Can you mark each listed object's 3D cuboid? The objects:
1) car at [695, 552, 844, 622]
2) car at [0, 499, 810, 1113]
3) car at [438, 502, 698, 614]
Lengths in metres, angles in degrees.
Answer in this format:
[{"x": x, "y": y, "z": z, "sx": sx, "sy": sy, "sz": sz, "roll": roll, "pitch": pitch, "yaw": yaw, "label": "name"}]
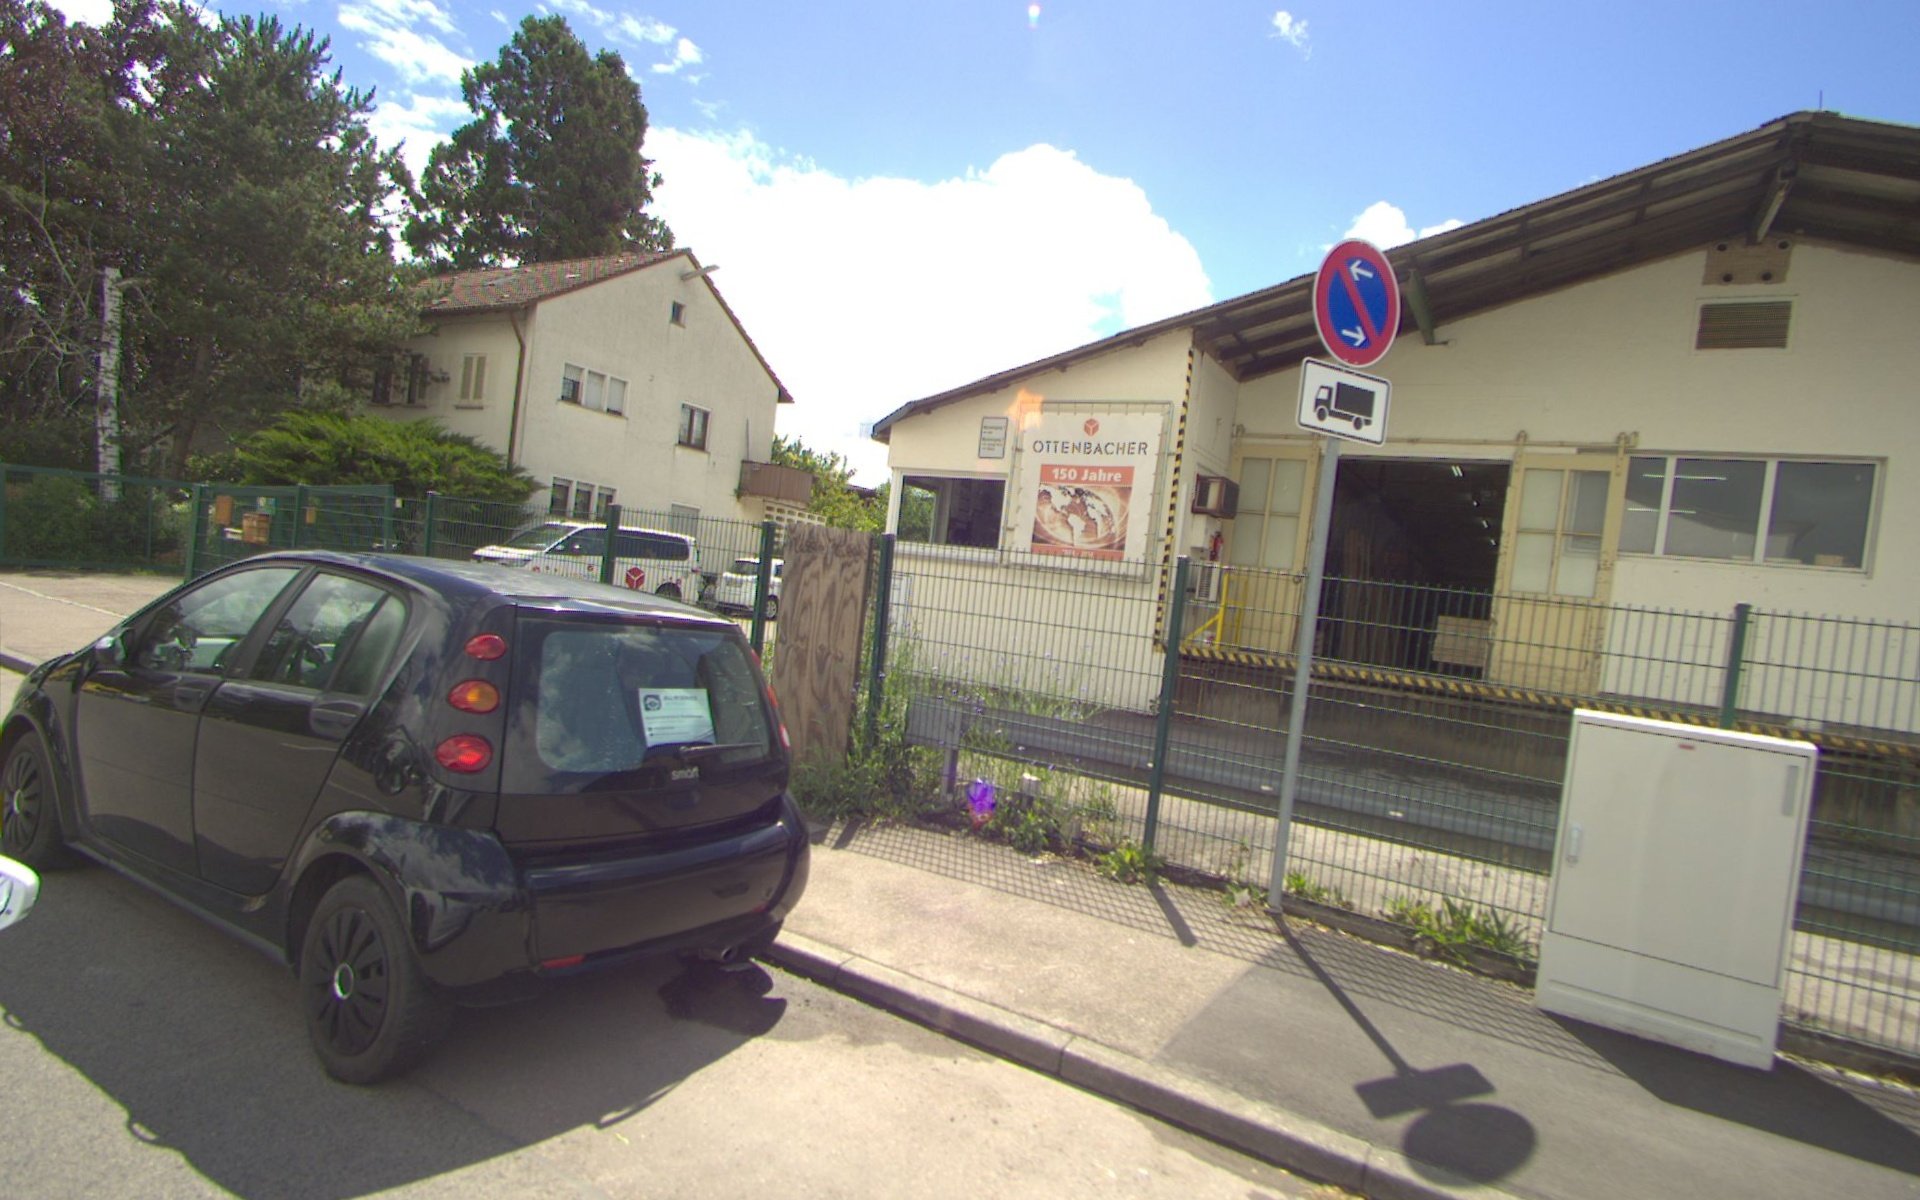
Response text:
[{"x": -5.097, "y": -0.317, "z": 27.370, "sx": 1.633, "sy": 1.543, "sz": 3.885, "roll": 7, "pitch": 2, "yaw": 33, "label": "car"}, {"x": -2.711, "y": 0.477, "z": 4.343, "sx": 3.785, "sy": 1.469, "sz": 1.691, "roll": 7, "pitch": 1, "yaw": 32, "label": "car"}, {"x": -8.458, "y": -0.840, "z": 22.196, "sx": 1.968, "sy": 1.954, "sz": 5.016, "roll": 7, "pitch": 2, "yaw": 34, "label": "car"}]
